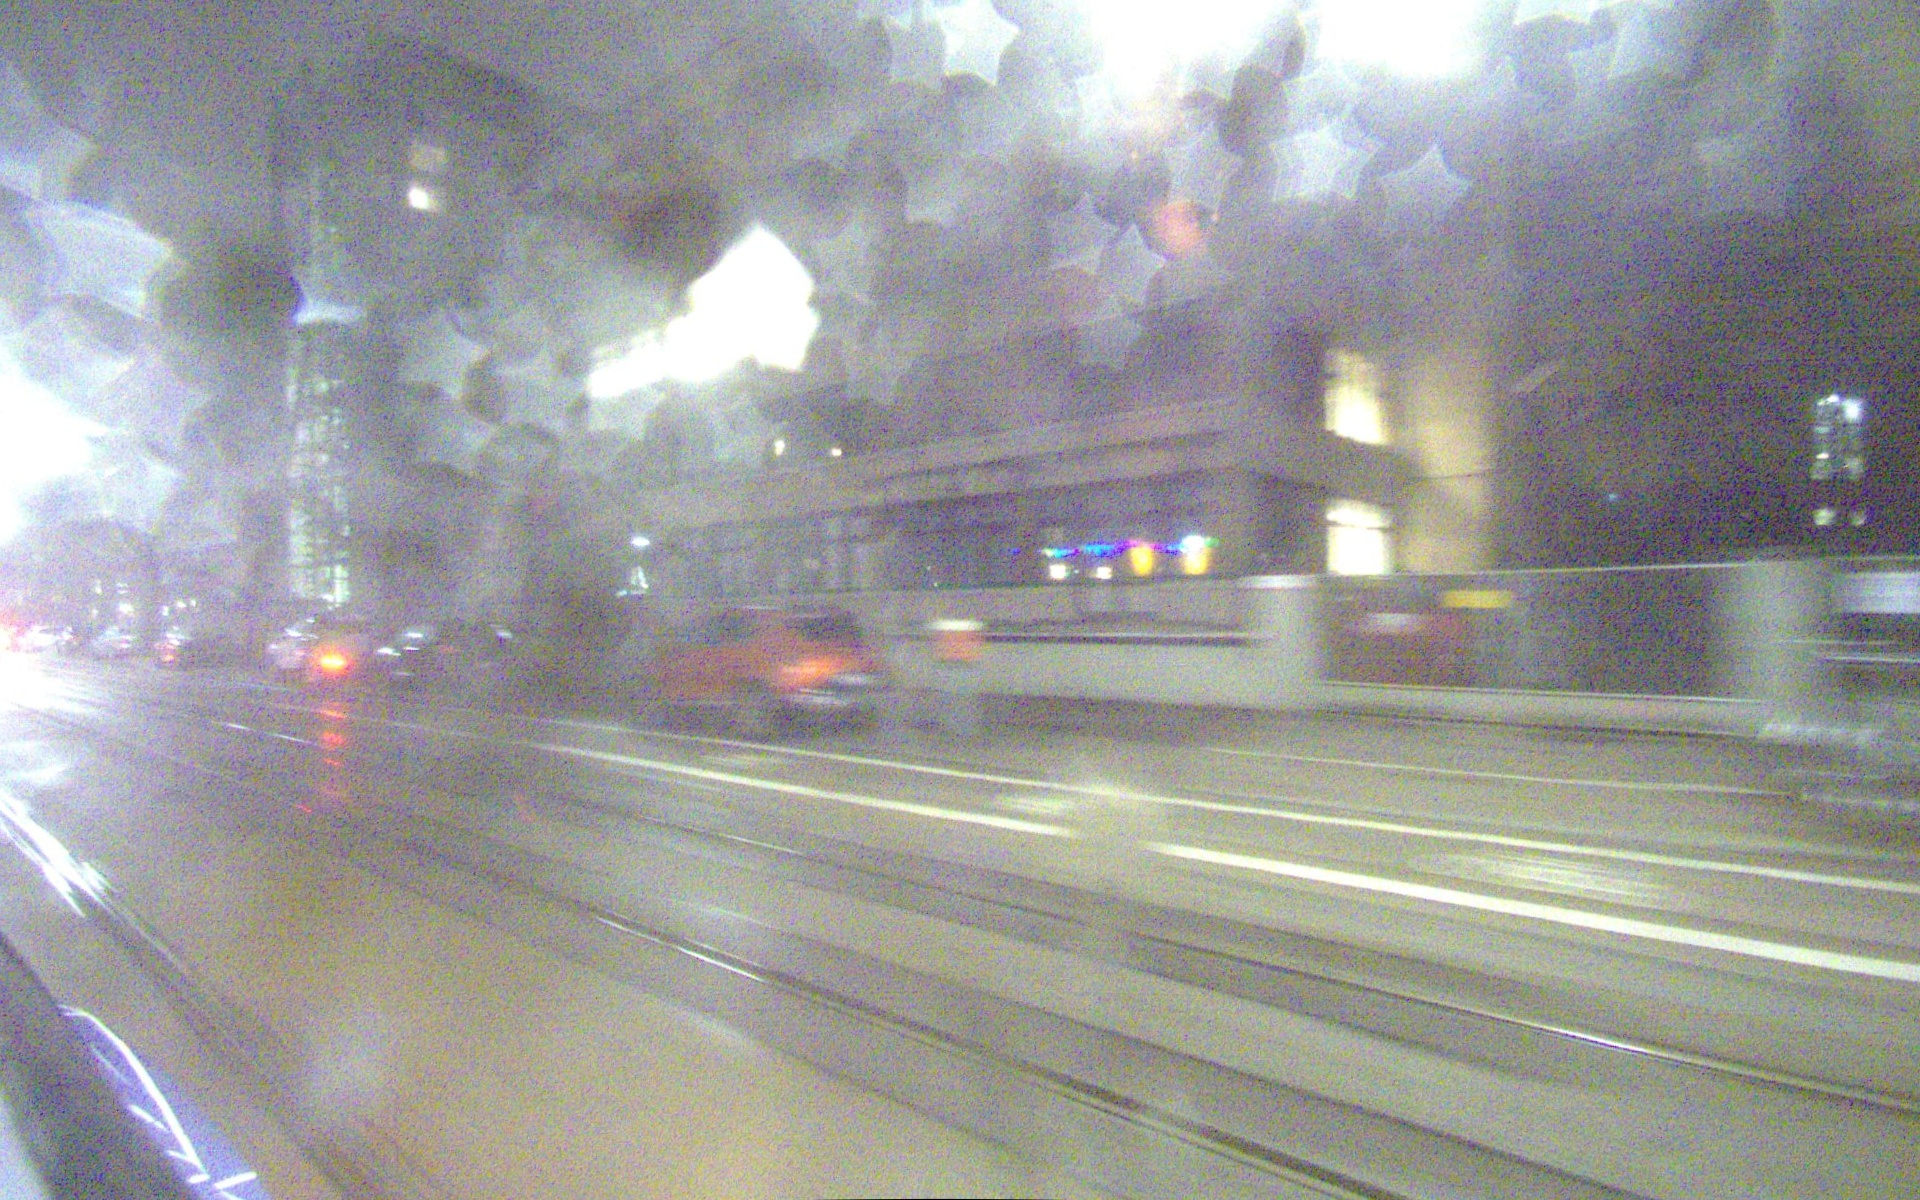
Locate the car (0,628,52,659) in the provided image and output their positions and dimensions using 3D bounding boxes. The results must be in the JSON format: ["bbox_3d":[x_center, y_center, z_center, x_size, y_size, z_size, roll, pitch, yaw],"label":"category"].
[{"bbox_3d":[-59.156,2.711,63.855,4.586,1.631,2.122,-1,2,41],"label":"car"}]

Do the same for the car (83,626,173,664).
[{"bbox_3d":[-35.666,1.892,43.349,4.951,1.474,1.870,-1,-1,37],"label":"car"}]

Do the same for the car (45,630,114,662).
[{"bbox_3d":[-43.479,2.241,49.965,4.203,1.434,1.822,-1,-1,38],"label":"car"}]

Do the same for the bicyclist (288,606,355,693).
[{"bbox_3d":[-12.744,0.970,20.194,1.205,1.668,0.774,-1,-2,41],"label":"bicyclist"}]

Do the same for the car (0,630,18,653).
[{"bbox_3d":[-66.276,2.854,69.623,4.624,1.449,1.713,-1,0,41],"label":"car"}]

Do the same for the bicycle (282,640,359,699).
[{"bbox_3d":[-12.799,1.360,20.228,1.917,1.090,0.774,-1,-2,41],"label":"bicycle"}]

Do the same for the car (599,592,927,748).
[{"bbox_3d":[-2.794,0.804,13.652,4.600,1.668,1.949,-1,2,43],"label":"car"}]

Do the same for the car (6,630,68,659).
[{"bbox_3d":[-50.887,2.411,55.785,4.601,1.451,1.756,-1,-1,38],"label":"car"}]

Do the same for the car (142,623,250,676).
[{"bbox_3d":[-26.460,1.672,35.009,4.394,1.556,1.863,-1,3,38],"label":"car"}]

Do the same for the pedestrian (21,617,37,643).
[{"bbox_3d":[-69.905,2.233,75.986,1.290,1.916,0.784,-1,0,41],"label":"pedestrian"}]

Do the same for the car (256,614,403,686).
[{"bbox_3d":[-16.257,1.220,25.988,4.515,1.643,1.963,-1,0,41],"label":"car"}]

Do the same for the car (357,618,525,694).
[{"bbox_3d":[-10.946,1.138,21.243,3.909,1.432,1.674,-2,-1,38],"label":"car"}]

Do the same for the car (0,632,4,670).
[{"bbox_3d":[-39.981,2.074,40.791,4.049,1.529,1.757,-2,0,42],"label":"car"}]
